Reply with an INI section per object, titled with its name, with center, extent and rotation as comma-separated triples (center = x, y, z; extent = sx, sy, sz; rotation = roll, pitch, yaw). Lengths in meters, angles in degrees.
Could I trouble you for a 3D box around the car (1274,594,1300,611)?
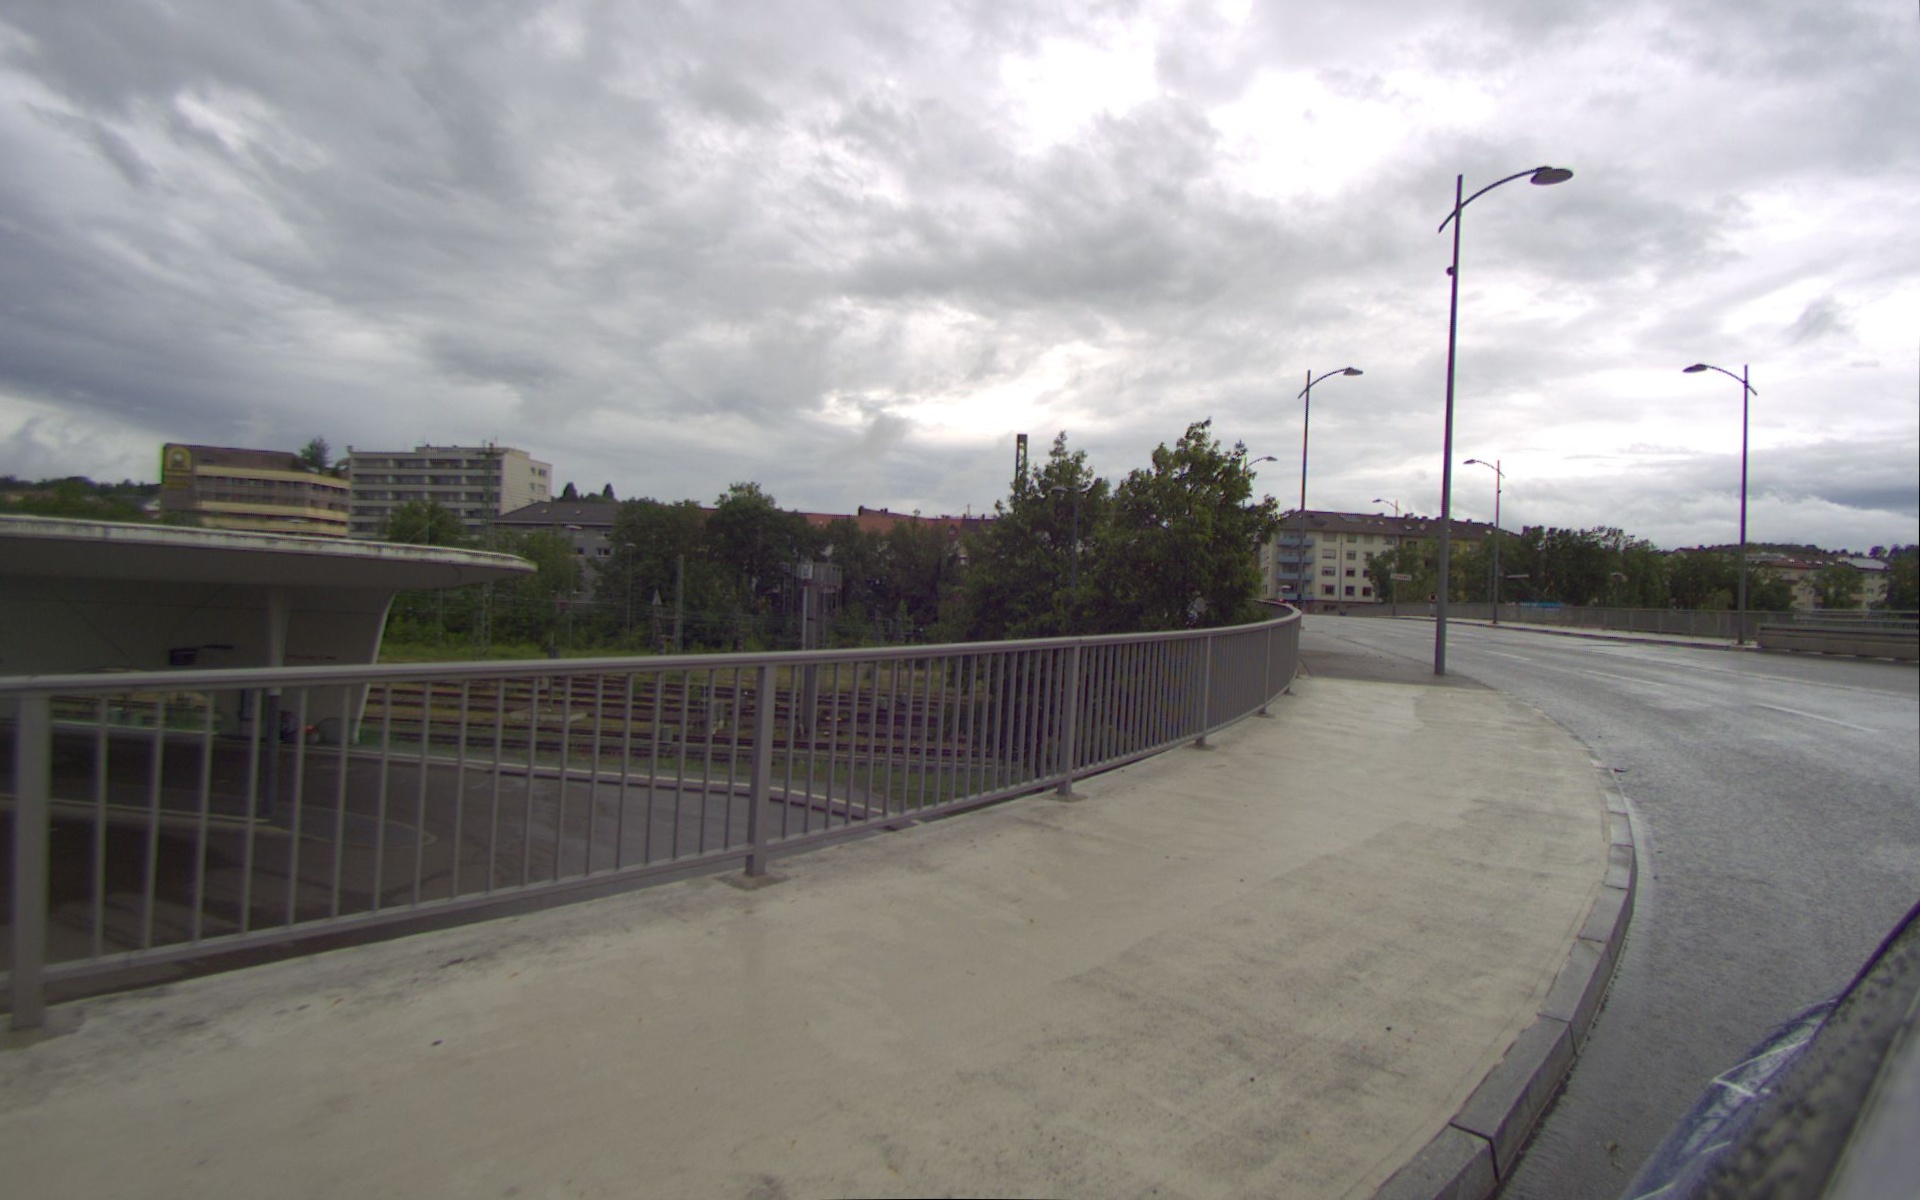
[car]
center = 38.953, 0.328, 120.675
extent = 1.859, 1.846, 4.949
rotation = -2, -3, 5
